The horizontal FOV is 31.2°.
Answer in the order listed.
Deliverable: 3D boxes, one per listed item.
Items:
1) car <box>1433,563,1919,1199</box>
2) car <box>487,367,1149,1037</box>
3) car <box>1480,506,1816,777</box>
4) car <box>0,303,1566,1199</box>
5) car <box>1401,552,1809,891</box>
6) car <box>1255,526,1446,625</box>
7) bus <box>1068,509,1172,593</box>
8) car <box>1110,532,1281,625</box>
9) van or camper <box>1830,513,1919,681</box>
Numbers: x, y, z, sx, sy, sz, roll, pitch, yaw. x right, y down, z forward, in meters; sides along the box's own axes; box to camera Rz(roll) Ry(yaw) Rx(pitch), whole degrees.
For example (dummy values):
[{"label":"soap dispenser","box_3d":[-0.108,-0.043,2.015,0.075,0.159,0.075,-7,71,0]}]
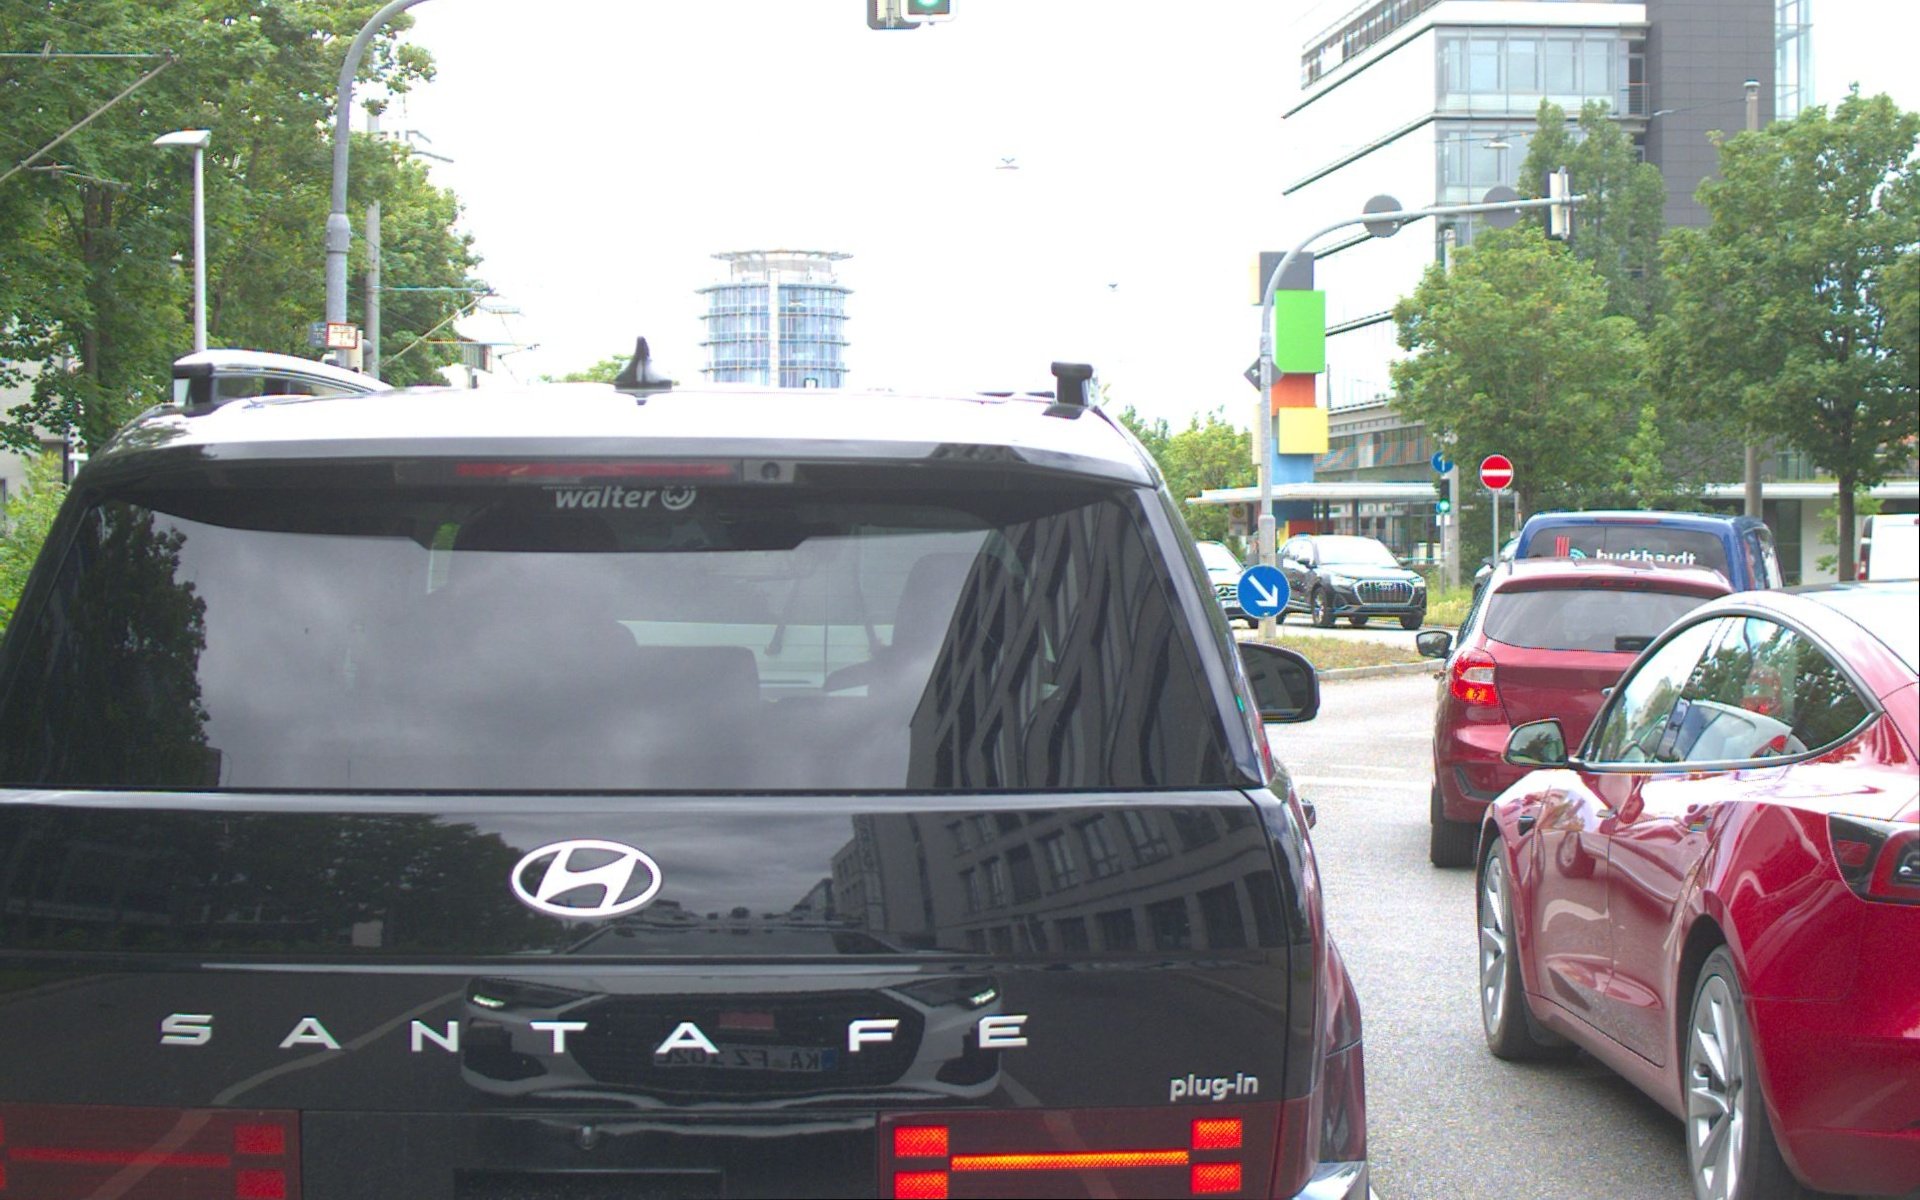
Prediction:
[{"label":"car","box_3d":[2.422,0.663,8.428,1.873,1.413,4.443,2,1,0]},{"label":"car","box_3d":[-0.309,0.261,12.688,1.902,1.962,4.635,2,1,4]},{"label":"car","box_3d":[5.432,0.260,26.673,1.904,1.852,4.705,2,1,19]},{"label":"car","box_3d":[-0.381,0.533,5.738,1.902,1.725,4.446,2,1,-1]},{"label":"car","box_3d":[3.157,0.519,17.442,1.745,1.476,3.718,1,1,7]},{"label":"car","box_3d":[6.753,-0.452,59.964,1.887,1.559,4.397,1,2,-13]},{"label":"bus","box_3d":[6.124,-1.874,133.216,2.966,3.106,9.245,-1,0,-4]},{"label":"car","box_3d":[3.972,-0.388,58.626,1.782,1.421,4.397,1,2,-11]},{"label":"van or camper","box_3d":[12.042,-0.077,41.560,1.996,1.911,4.402,2,2,27]}]
